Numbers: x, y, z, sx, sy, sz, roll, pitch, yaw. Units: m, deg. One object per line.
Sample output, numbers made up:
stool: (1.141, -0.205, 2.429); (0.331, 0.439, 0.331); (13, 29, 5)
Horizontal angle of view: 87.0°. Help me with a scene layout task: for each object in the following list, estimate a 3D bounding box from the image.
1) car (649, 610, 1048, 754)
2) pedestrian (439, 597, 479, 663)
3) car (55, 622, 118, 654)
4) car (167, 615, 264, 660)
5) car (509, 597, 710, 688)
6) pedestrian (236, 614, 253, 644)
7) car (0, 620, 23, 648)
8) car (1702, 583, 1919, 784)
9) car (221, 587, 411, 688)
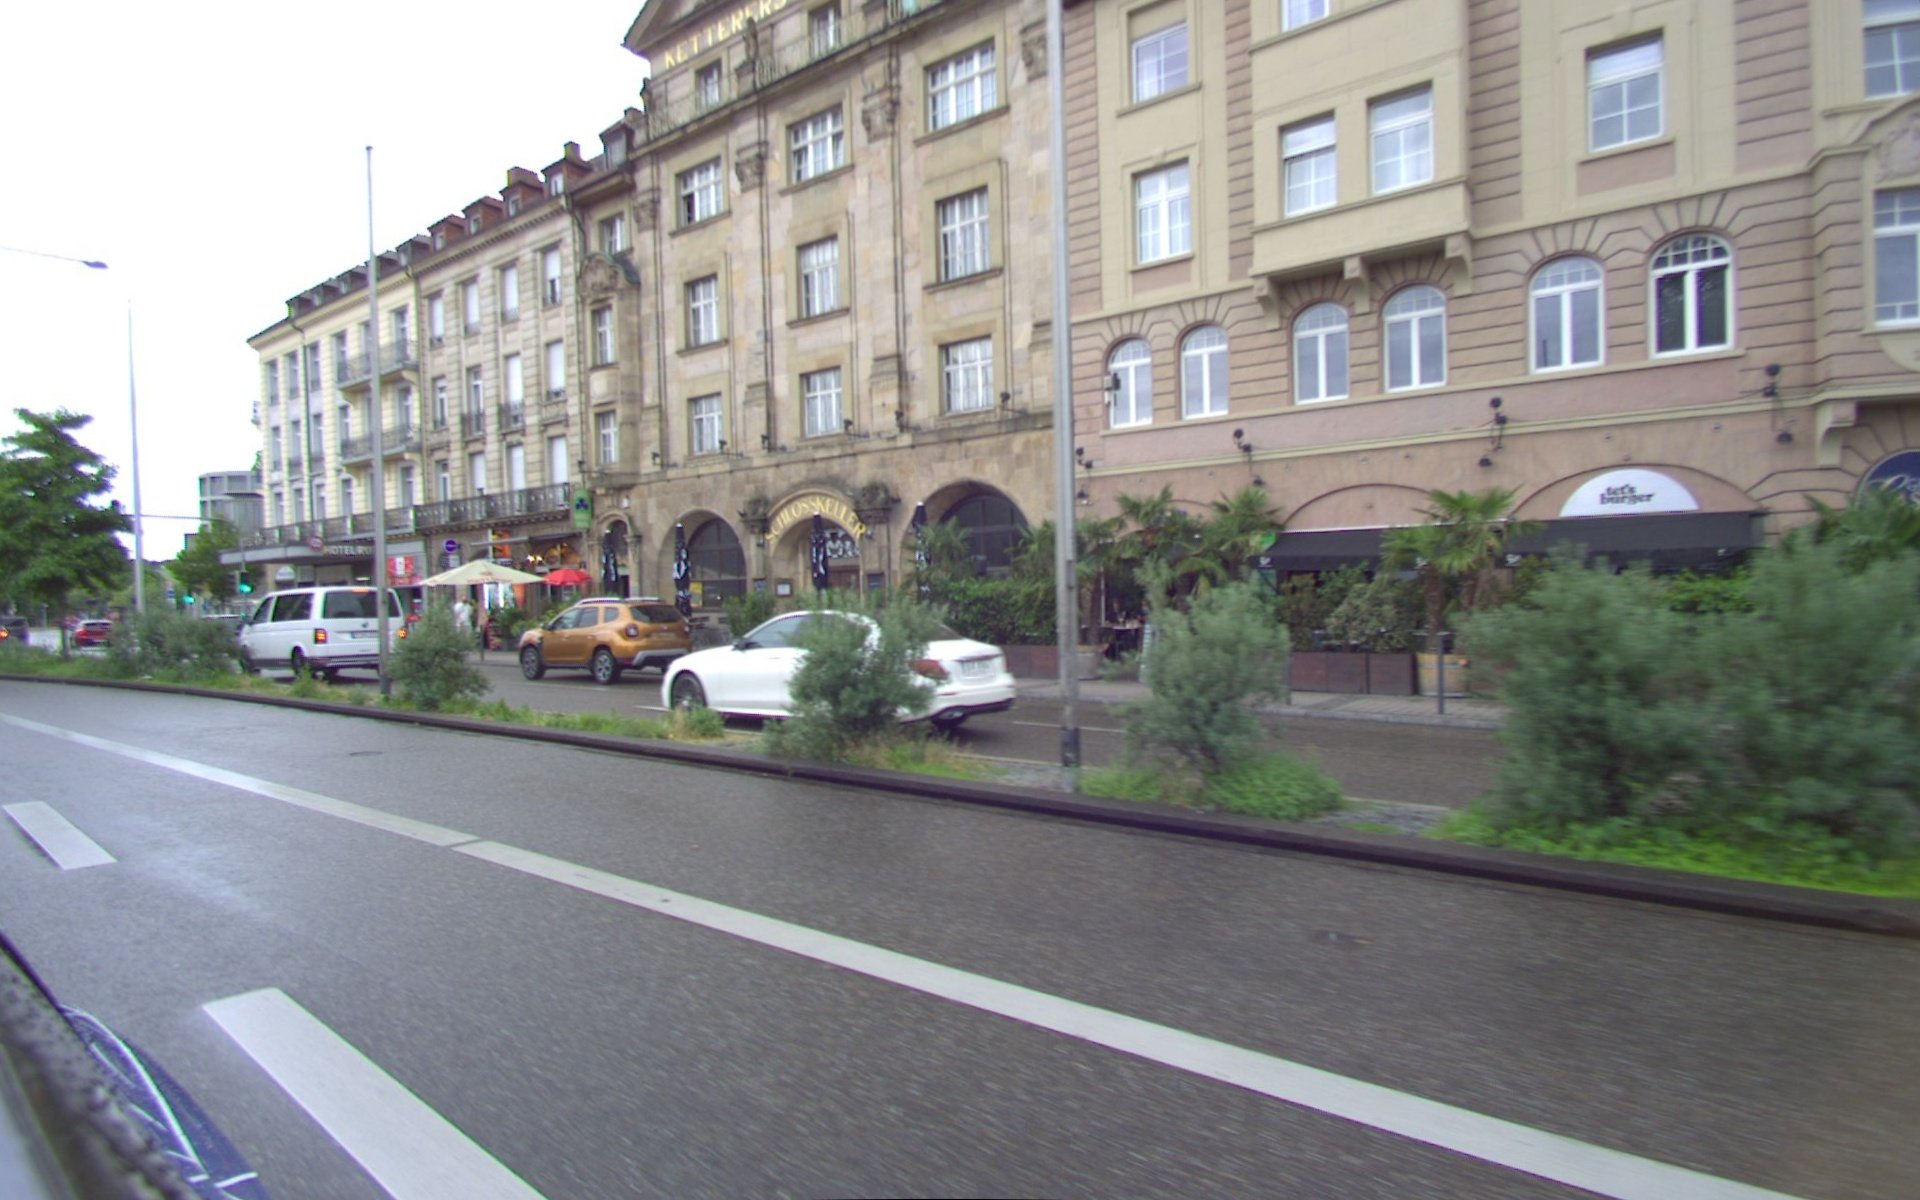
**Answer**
car: (-1.515, 0.845, 12.249); (4.977, 1.417, 1.774); (-1, -1, 38)
pedestrian: (-15.366, 0.902, 31.041); (0.765, 1.922, 0.670); (2, 9, 40)
car: (-43.196, 1.857, 50.037); (3.910, 1.456, 1.661); (-1, 0, 38)
car: (-25.210, 1.234, 34.251); (3.754, 1.443, 1.613); (-1, -1, 36)
car: (-7.255, 0.822, 20.840); (4.094, 1.693, 1.975); (-1, -1, 37)
pedestrian: (-36.383, 1.479, 51.434); (0.633, 1.499, 0.748); (-2, 0, -33)
car: (-63.159, 2.220, 66.775); (3.813, 1.763, 1.791); (-1, -1, 45)
car: (8.942, 0.654, 8.158); (4.733, 1.591, 1.774); (-1, -1, 38)
car: (-14.129, 0.769, 22.103); (4.846, 1.989, 1.903); (-1, -1, 36)
